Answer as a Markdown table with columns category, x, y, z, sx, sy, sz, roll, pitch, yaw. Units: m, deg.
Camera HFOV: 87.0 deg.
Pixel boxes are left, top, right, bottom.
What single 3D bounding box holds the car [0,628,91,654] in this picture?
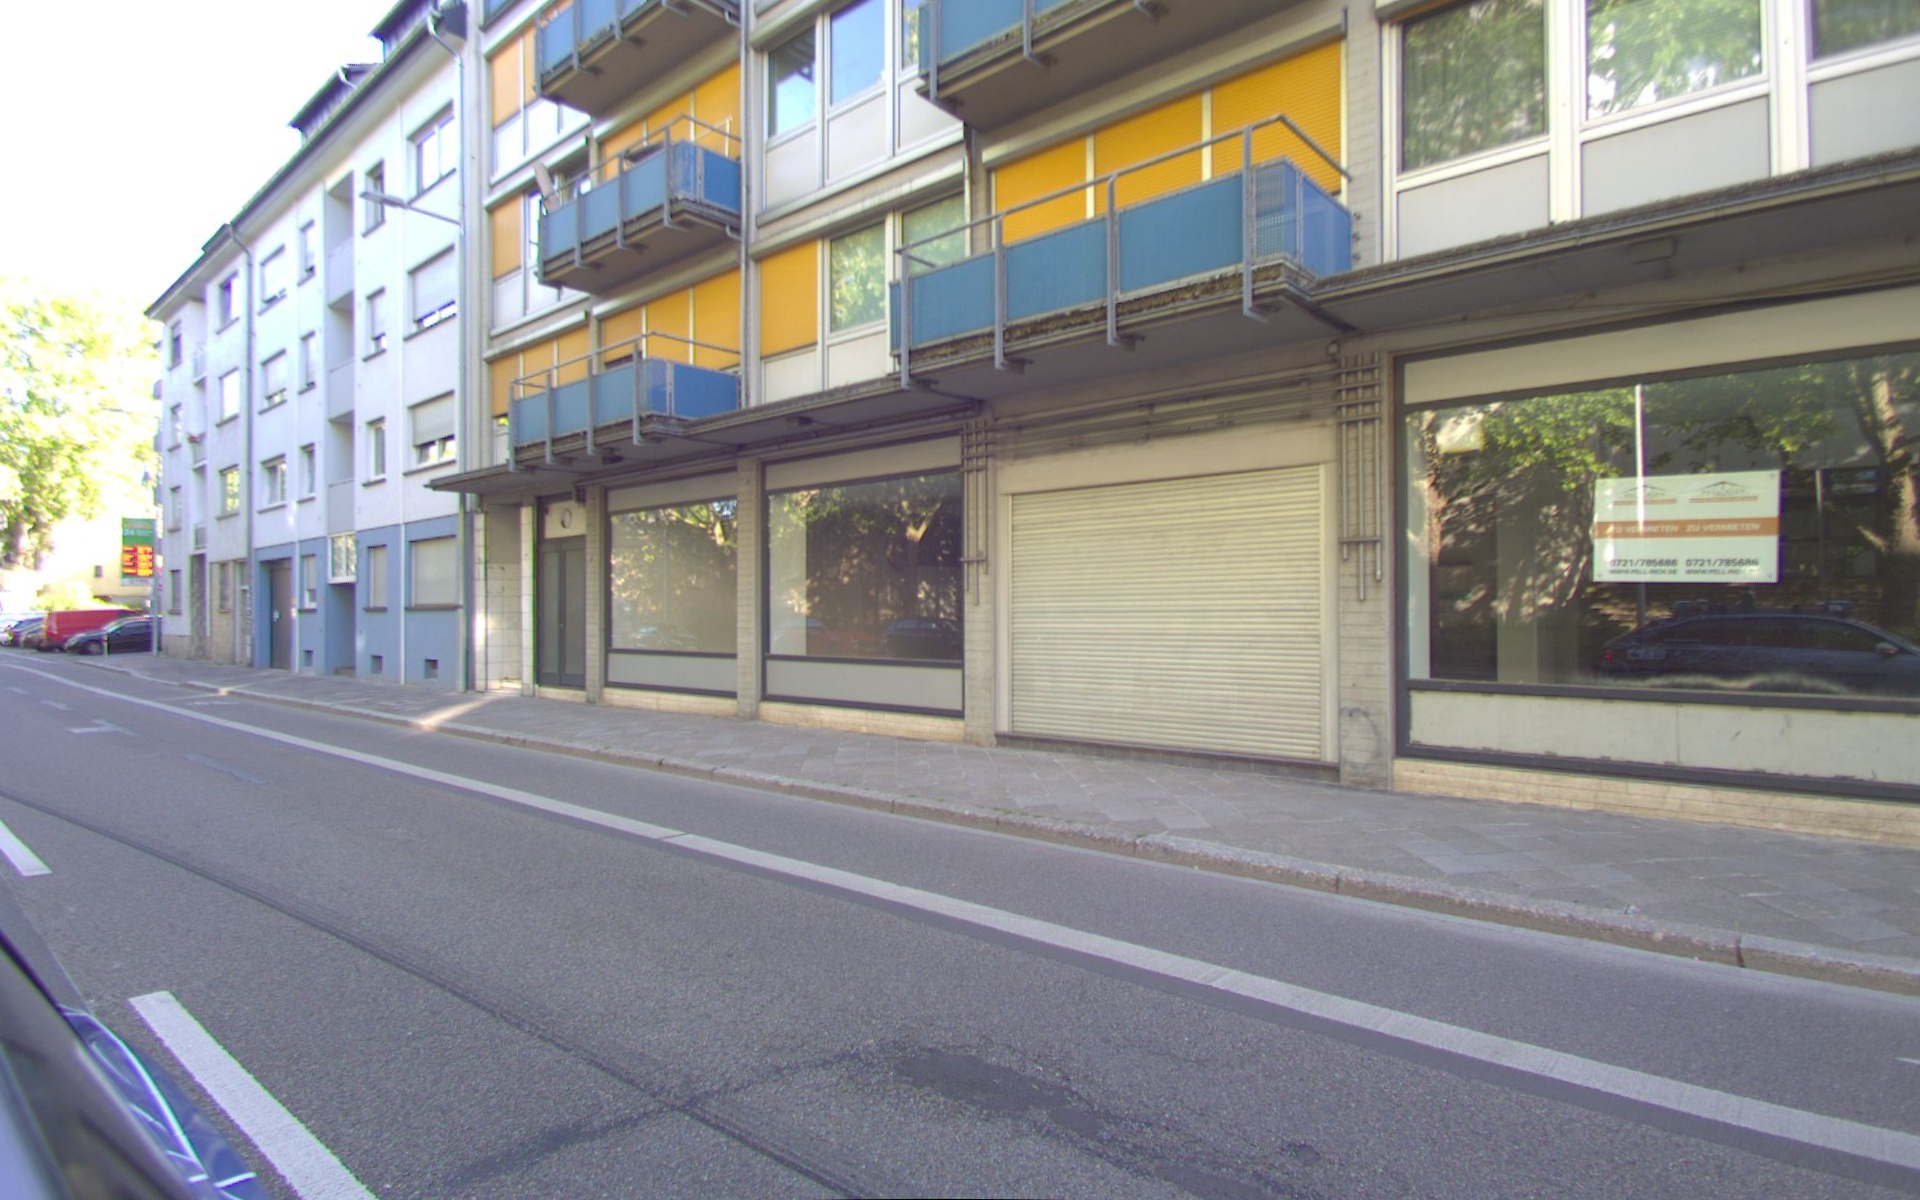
| category | x | y | z | sx | sy | sz | roll | pitch | yaw |
| --- | --- | --- | --- | --- | --- | --- | --- | --- | --- |
| car | -50.439 | 2.234 | 55.871 | 1.345 | 1.254 | 3.638 | -1 | 0 | 43 |

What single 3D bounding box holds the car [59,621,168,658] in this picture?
| category | x | y | z | sx | sy | sz | roll | pitch | yaw |
| --- | --- | --- | --- | --- | --- | --- | --- | --- | --- |
| car | -38.186 | 1.761 | 45.719 | 1.490 | 1.523 | 3.638 | -1 | 0 | 43 |

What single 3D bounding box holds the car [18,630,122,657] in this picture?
| category | x | y | z | sx | sy | sz | roll | pitch | yaw |
| --- | --- | --- | --- | --- | --- | --- | --- | --- | --- |
| car | -42.808 | 2.067 | 48.733 | 1.345 | 1.137 | 3.638 | -1 | 0 | 43 |

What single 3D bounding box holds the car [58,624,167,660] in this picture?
| category | x | y | z | sx | sy | sz | roll | pitch | yaw |
| --- | --- | --- | --- | --- | --- | --- | --- | --- | --- |
| car | -36.670 | 1.804 | 43.839 | 1.490 | 1.398 | 3.462 | -1 | 0 | 43 |

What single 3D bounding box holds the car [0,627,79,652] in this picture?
| category | x | y | z | sx | sy | sz | roll | pitch | yaw |
| --- | --- | --- | --- | --- | --- | --- | --- | --- | --- |
| car | -52.253 | 2.242 | 57.500 | 1.345 | 1.254 | 3.228 | -1 | 0 | 43 |

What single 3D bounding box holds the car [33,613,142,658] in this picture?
| category | x | y | z | sx | sy | sz | roll | pitch | yaw |
| --- | --- | --- | --- | --- | --- | --- | --- | --- | --- |
| car | -40.645 | 1.641 | 47.218 | 1.488 | 1.923 | 3.642 | -4 | -2 | 39 |
